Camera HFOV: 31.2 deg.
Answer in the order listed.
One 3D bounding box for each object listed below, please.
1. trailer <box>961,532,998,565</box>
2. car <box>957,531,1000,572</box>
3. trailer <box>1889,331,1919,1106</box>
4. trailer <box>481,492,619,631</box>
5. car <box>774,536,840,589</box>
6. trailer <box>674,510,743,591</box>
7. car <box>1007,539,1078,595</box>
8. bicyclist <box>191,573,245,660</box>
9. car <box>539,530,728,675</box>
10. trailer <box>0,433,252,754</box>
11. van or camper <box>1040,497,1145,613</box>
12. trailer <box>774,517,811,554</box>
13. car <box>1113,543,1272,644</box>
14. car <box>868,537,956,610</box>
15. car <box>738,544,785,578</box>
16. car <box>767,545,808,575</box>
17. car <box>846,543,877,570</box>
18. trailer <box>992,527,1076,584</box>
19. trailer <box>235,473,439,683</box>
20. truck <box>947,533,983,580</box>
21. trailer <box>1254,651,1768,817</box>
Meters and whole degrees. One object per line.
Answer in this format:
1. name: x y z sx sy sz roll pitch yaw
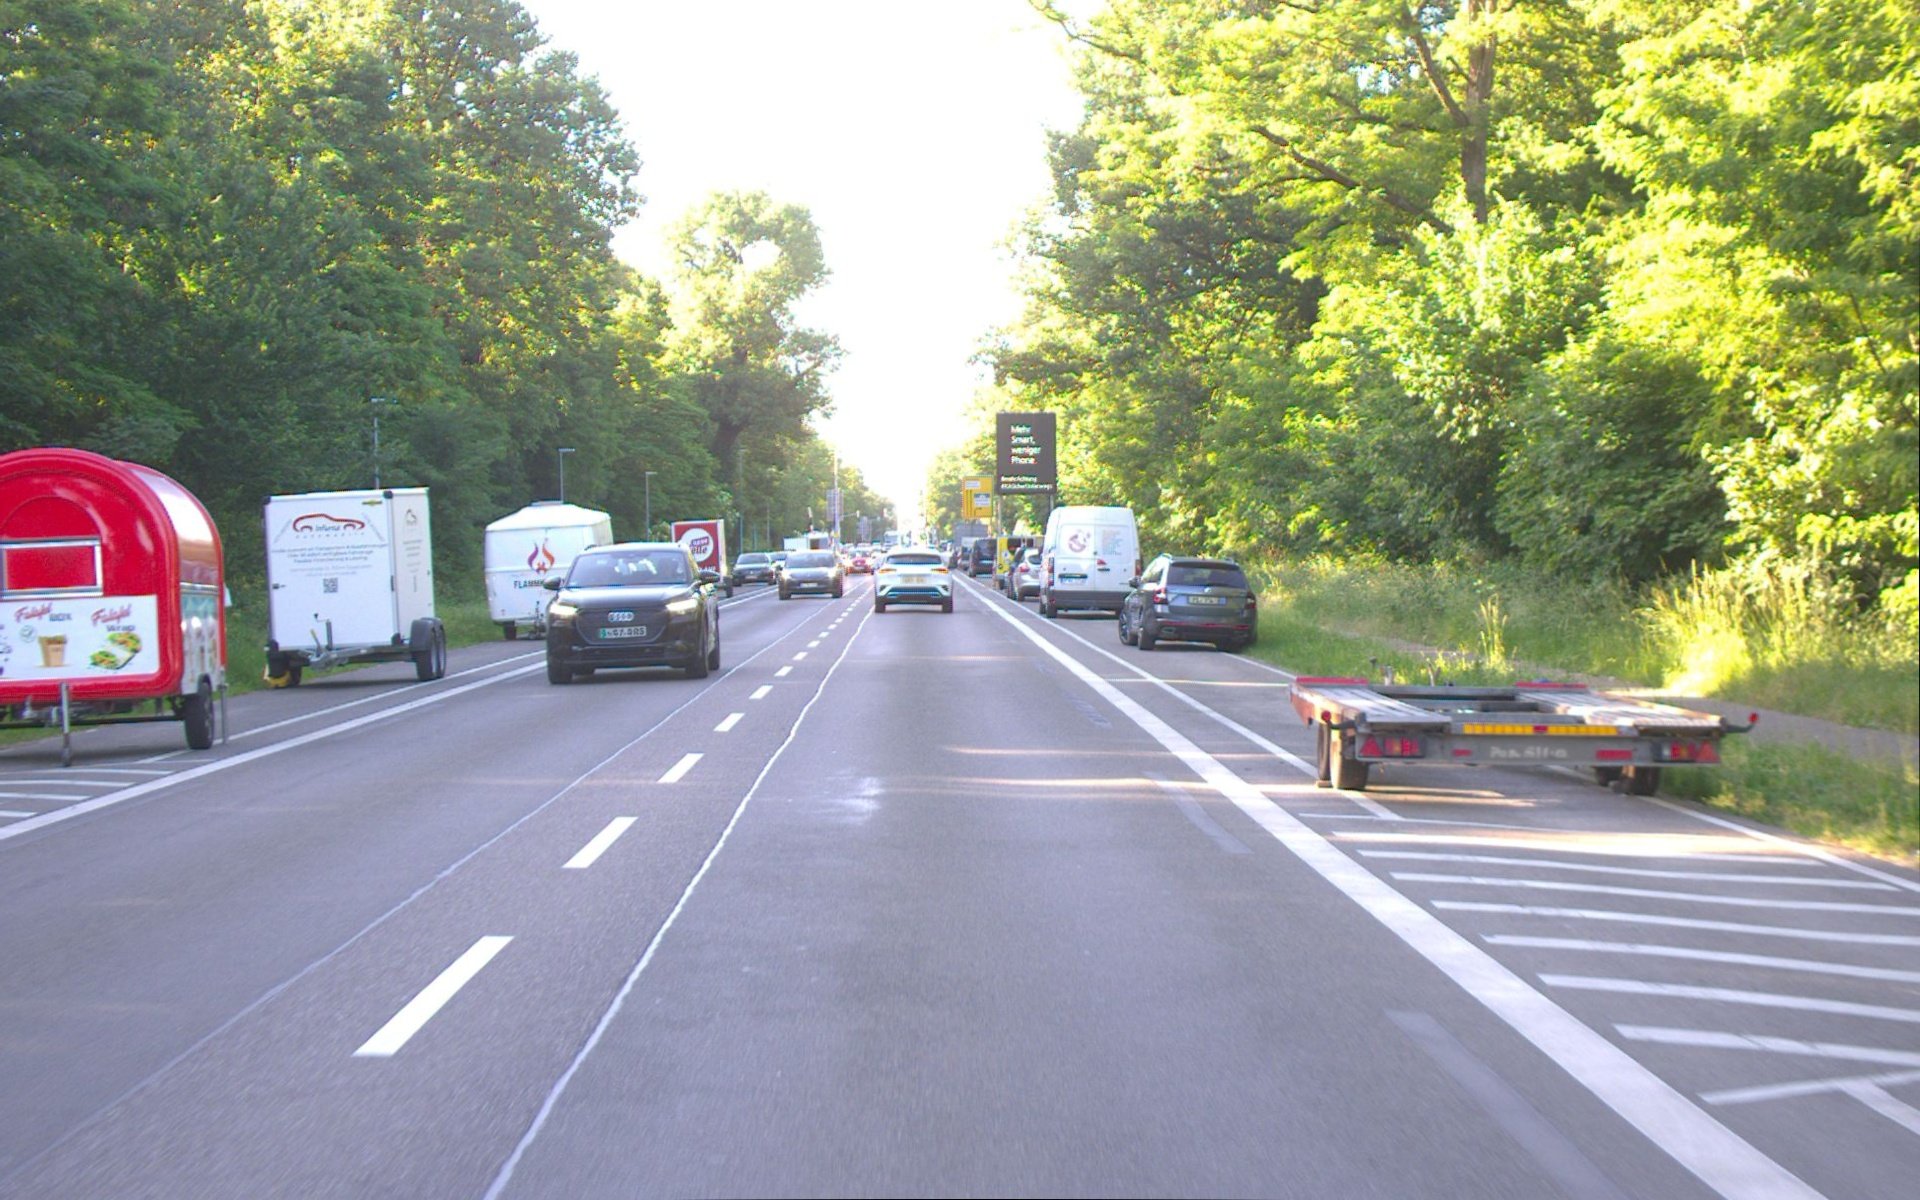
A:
1. trailer: 1.247 -3.264 219.044 1.616 2.105 2.394 0 1 20
2. car: 0.924 -2.489 174.800 2.113 2.007 5.040 1 1 0
3. trailer: 3.587 0.352 8.064 1.754 2.154 3.540 0 1 -2
4. trailer: -7.784 -0.756 65.687 2.345 2.520 4.345 -1 1 -4
5. car: -4.588 -1.119 103.781 1.819 1.527 4.530 -1 1 -1
6. trailer: -8.345 -1.658 114.360 1.993 2.612 4.086 -1 1 0
7. car: 2.311 -0.952 97.360 1.734 1.482 4.401 1 1 -2
8. bicyclist: -11.765 0.262 54.529 0.671 1.359 0.905 0 0 0
9. car: -3.834 0.005 41.015 1.818 1.581 4.459 -1 1 0
10. trailer: -7.204 -0.078 28.573 2.066 2.472 3.561 -1 1 -4
11. van or camper: 2.911 -1.015 76.878 2.125 2.474 6.305 0 1 0
12. trailer: -10.675 -4.094 219.350 2.075 2.285 3.486 -1 1 1
13. car: 3.537 -0.134 53.139 1.834 1.416 4.598 2 1 -3
14. car: -1.126 -0.639 80.516 1.993 1.634 4.000 -1 1 -1
15. car: -8.799 -1.729 152.560 1.855 1.459 4.784 -1 1 -1
16. car: -9.018 -2.122 180.028 1.867 1.445 4.071 -3 1 -1
17. car: -5.411 -2.398 188.448 1.604 1.416 3.519 -2 1 -1
18. trailer: 2.718 -1.633 125.432 1.964 2.016 3.840 0 1 19
19. trailer: -7.708 -0.291 42.861 2.066 2.472 3.561 -1 1 -4
20. truck: 0.367 -3.142 248.929 2.505 3.355 7.107 0 1 0
21. trailer: 3.423 0.815 22.686 2.432 0.796 5.660 0 1 -1
